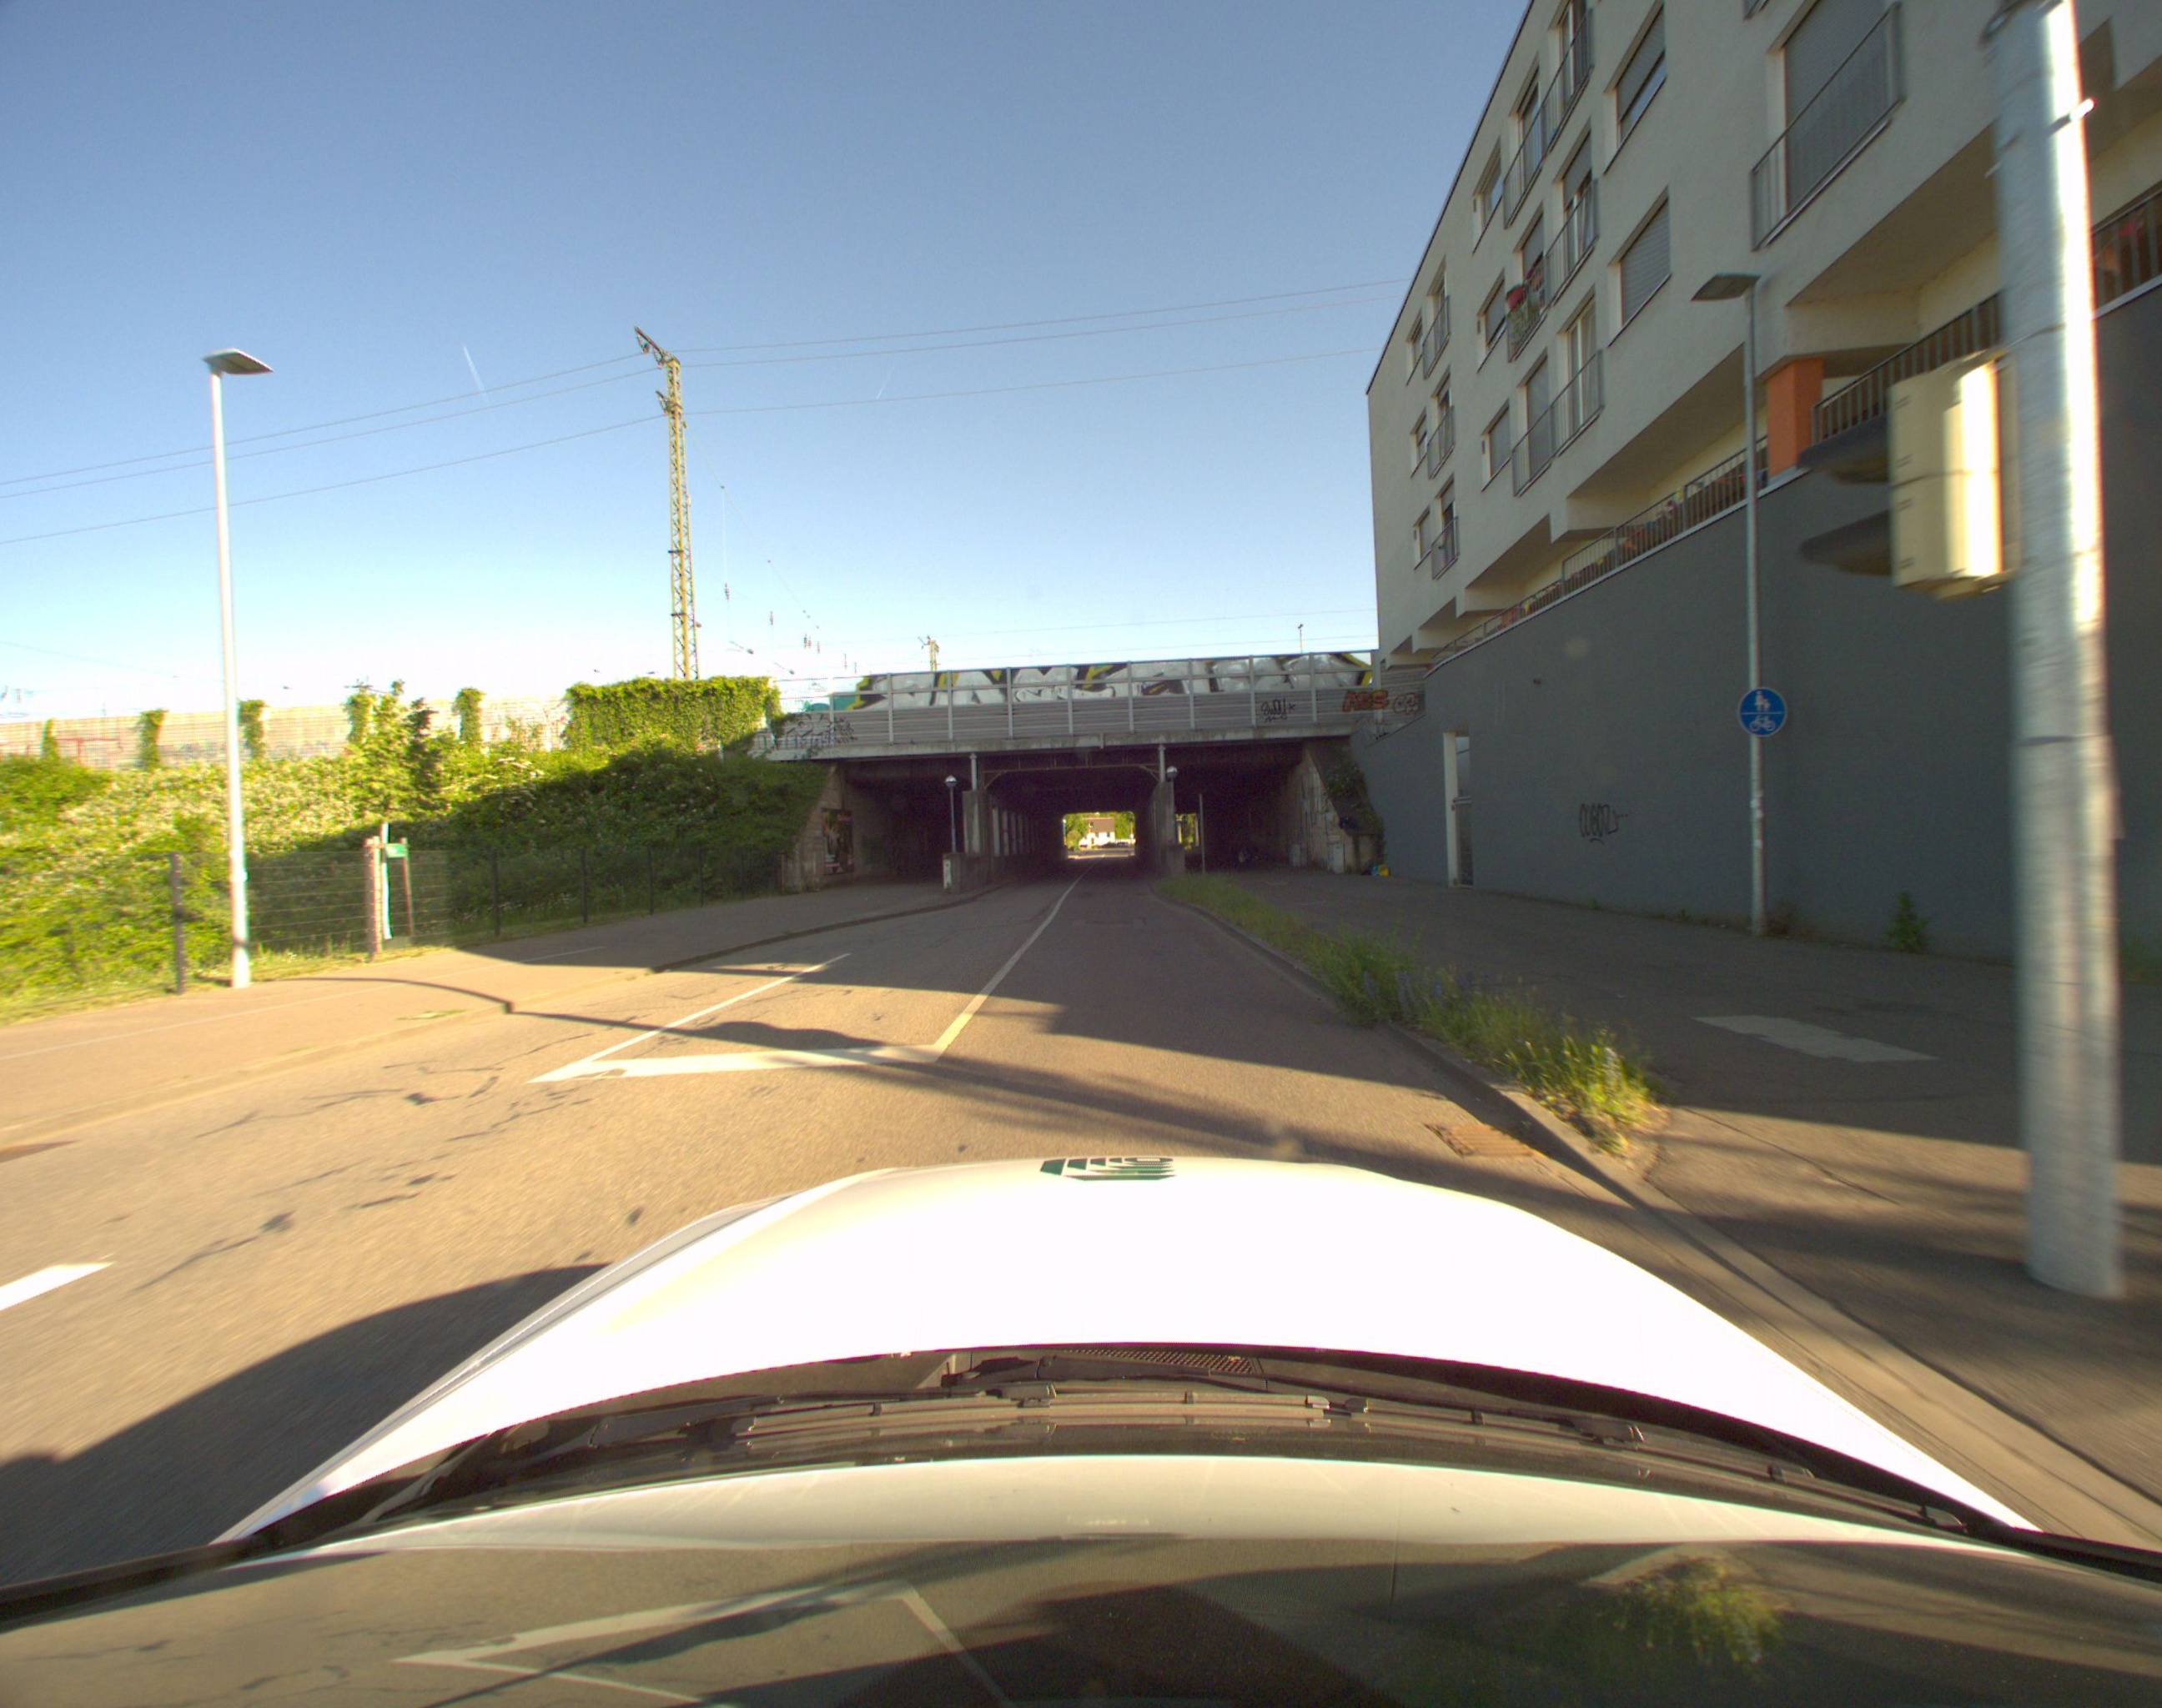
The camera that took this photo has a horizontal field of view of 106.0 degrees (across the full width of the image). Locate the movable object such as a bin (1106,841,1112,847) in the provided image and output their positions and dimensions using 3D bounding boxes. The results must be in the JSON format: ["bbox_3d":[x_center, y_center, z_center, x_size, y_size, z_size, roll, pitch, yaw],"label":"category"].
[{"bbox_3d":[7.150,-2.485,205.854,1.362,1.418,1.064,0,0,-5],"label":"movable object such as a bin"}]

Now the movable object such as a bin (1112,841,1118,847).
[{"bbox_3d":[8.580,-2.493,206.029,1.362,1.418,1.064,0,0,-5],"label":"movable object such as a bin"}]
